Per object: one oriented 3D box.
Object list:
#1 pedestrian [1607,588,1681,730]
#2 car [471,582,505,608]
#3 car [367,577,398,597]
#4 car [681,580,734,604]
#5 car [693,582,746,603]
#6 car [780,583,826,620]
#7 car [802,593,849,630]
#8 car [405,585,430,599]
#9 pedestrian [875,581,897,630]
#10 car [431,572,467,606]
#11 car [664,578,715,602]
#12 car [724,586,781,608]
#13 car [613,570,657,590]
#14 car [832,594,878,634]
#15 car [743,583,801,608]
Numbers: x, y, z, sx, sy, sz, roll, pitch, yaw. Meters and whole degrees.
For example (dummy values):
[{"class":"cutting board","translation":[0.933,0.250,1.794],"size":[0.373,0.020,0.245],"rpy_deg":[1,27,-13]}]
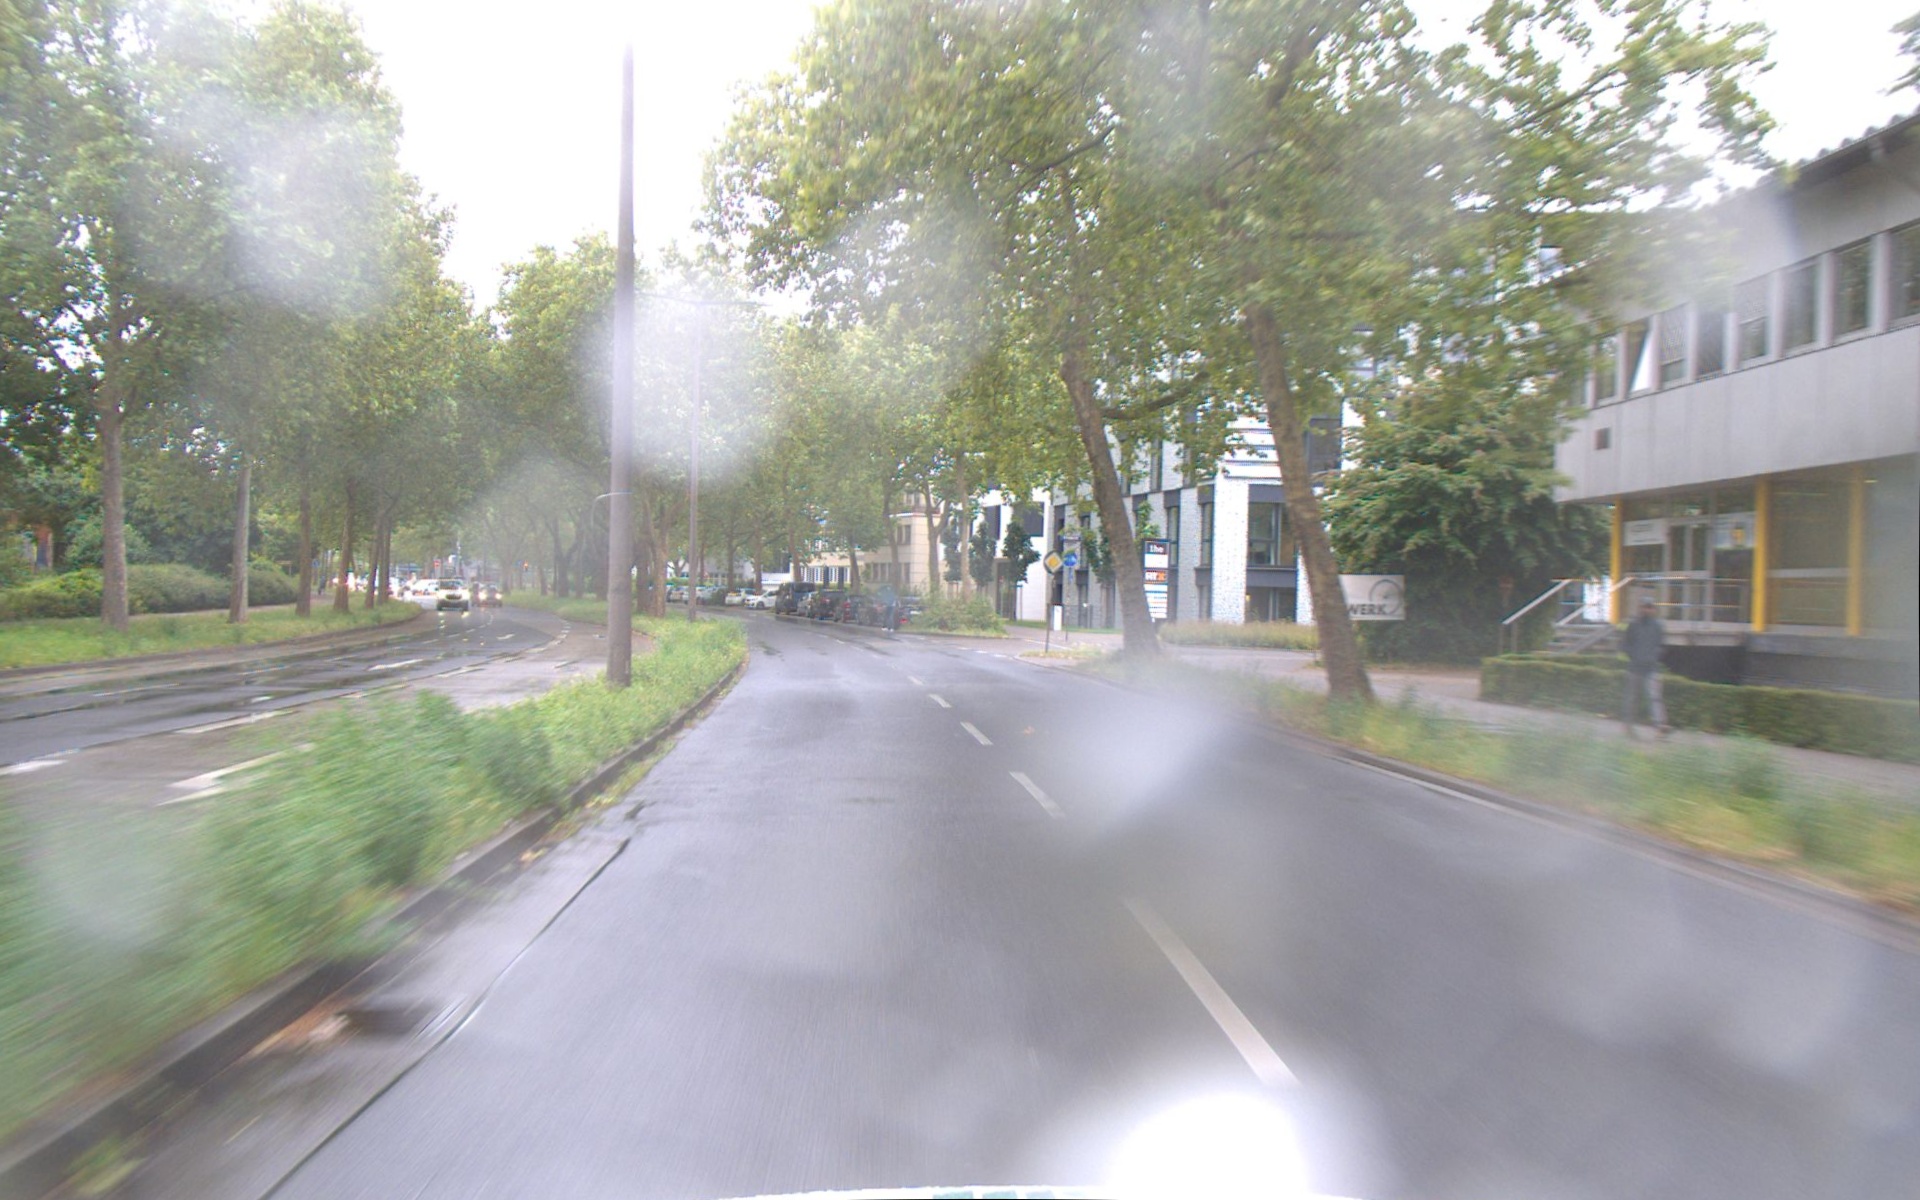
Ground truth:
[{"class":"pedestrian","translation":[8.522,0.713,20.603],"size":[0.659,1.697,0.822],"rpy_deg":[2,2,34]},{"class":"car","translation":[-34.418,-0.382,120.605],"size":[1.966,1.746,3.973],"rpy_deg":[1,2,-23]},{"class":"car","translation":[-52.782,-1.190,151.163],"size":[1.972,1.612,3.962],"rpy_deg":[1,2,-29]},{"class":"car","translation":[-20.968,-0.660,137.309],"size":[3.943,1.863,1.981],"rpy_deg":[1,2,-29]},{"class":"car","translation":[-19.260,-0.577,132.485],"size":[3.820,1.530,1.872],"rpy_deg":[1,2,-27]},{"class":"car","translation":[-9.746,0.084,102.386],"size":[2.087,2.124,3.984],"rpy_deg":[1,2,-16]},{"class":"car","translation":[-7.423,0.625,90.738],"size":[1.959,1.813,3.987],"rpy_deg":[1,2,-13]},{"class":"car","translation":[-54.305,-0.767,165.530],"size":[1.743,1.248,3.747],"rpy_deg":[1,2,-29]},{"class":"pedestrian","translation":[-3.088,0.229,68.949],"size":[0.838,1.984,0.707],"rpy_deg":[1,1,-9]},{"class":"car","translation":[-32.733,-0.725,105.916],"size":[1.952,2.048,3.977],"rpy_deg":[1,2,-20]},{"class":"car","translation":[-23.302,-0.861,142.408],"size":[3.937,1.851,1.984],"rpy_deg":[1,2,-26]},{"class":"car","translation":[-15.509,-0.216,123.750],"size":[3.820,1.519,1.872],"rpy_deg":[1,2,-27]},{"class":"car","translation":[-32.421,-2.035,164.929],"size":[3.937,1.851,1.984],"rpy_deg":[1,2,-26]},{"class":"car","translation":[-5.342,0.704,83.866],"size":[1.956,1.813,3.993],"rpy_deg":[1,2,-9]},{"class":"car","translation":[-13.677,-0.305,120.280],"size":[3.812,1.679,1.877],"rpy_deg":[1,2,-21]}]
